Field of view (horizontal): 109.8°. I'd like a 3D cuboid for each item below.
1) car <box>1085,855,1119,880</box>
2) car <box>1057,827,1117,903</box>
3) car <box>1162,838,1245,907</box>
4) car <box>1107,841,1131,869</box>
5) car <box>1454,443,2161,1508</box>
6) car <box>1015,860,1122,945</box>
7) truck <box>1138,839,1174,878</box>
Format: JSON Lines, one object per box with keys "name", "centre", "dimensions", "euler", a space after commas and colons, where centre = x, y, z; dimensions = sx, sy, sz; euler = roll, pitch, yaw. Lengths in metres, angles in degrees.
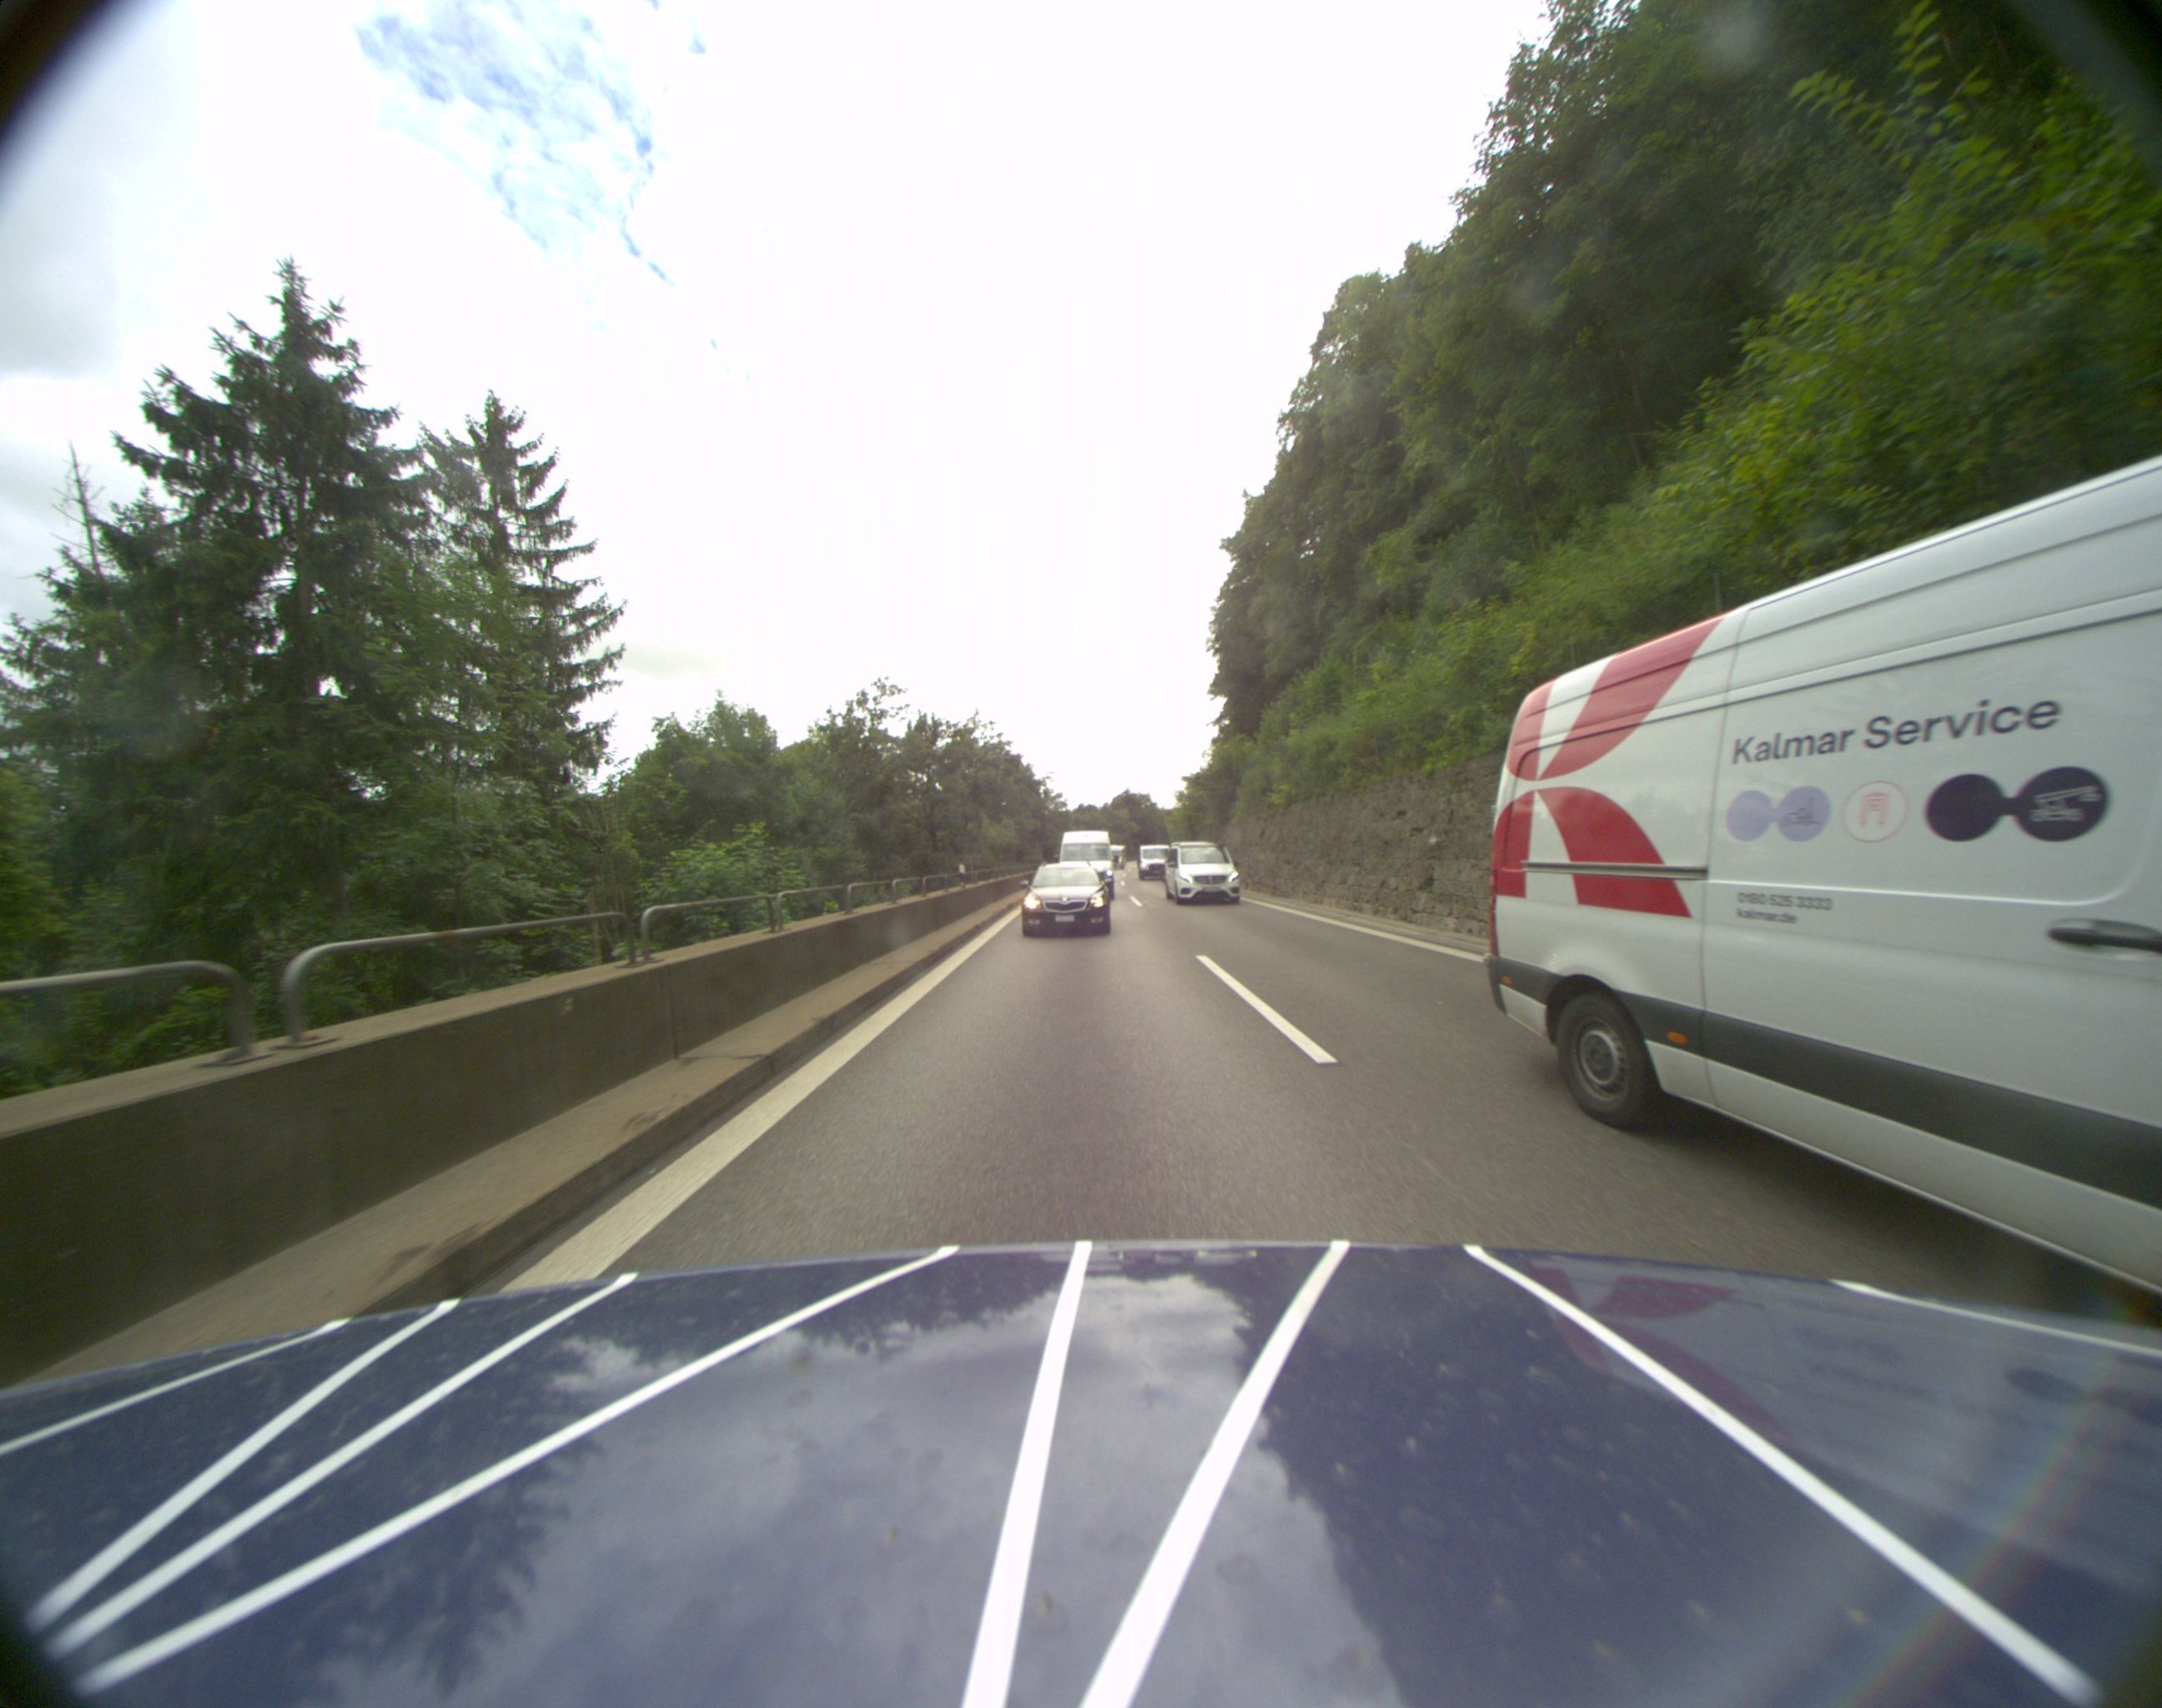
{"name": "car", "centre": [1.367, 0.808, 47.969], "dimensions": [1.846, 1.408, 4.001], "euler": [-2, 0, 6]}
{"name": "car", "centre": [0.340, 0.327, 29.052], "dimensions": [1.998, 2.550, 5.918], "euler": [-2, 1, 2]}
{"name": "car", "centre": [3.921, 0.526, 25.381], "dimensions": [1.998, 1.941, 6.148], "euler": [-3, 0, 3]}
{"name": "car", "centre": [4.385, 0.041, 86.708], "dimensions": [2.276, 2.941, 7.188], "euler": [-2, 1, 6]}
{"name": "car", "centre": [3.614, 0.277, 2.092], "dimensions": [2.031, 2.570, 6.273], "euler": [-2, 1, 0]}
{"name": "car", "centre": [-0.298, 0.929, 17.028], "dimensions": [1.913, 1.391, 5.695], "euler": [-4, 0, -1]}
{"name": "truck", "centre": [4.843, 0.257, 49.880], "dimensions": [1.998, 2.266, 6.587], "euler": [-3, 0, 3]}
